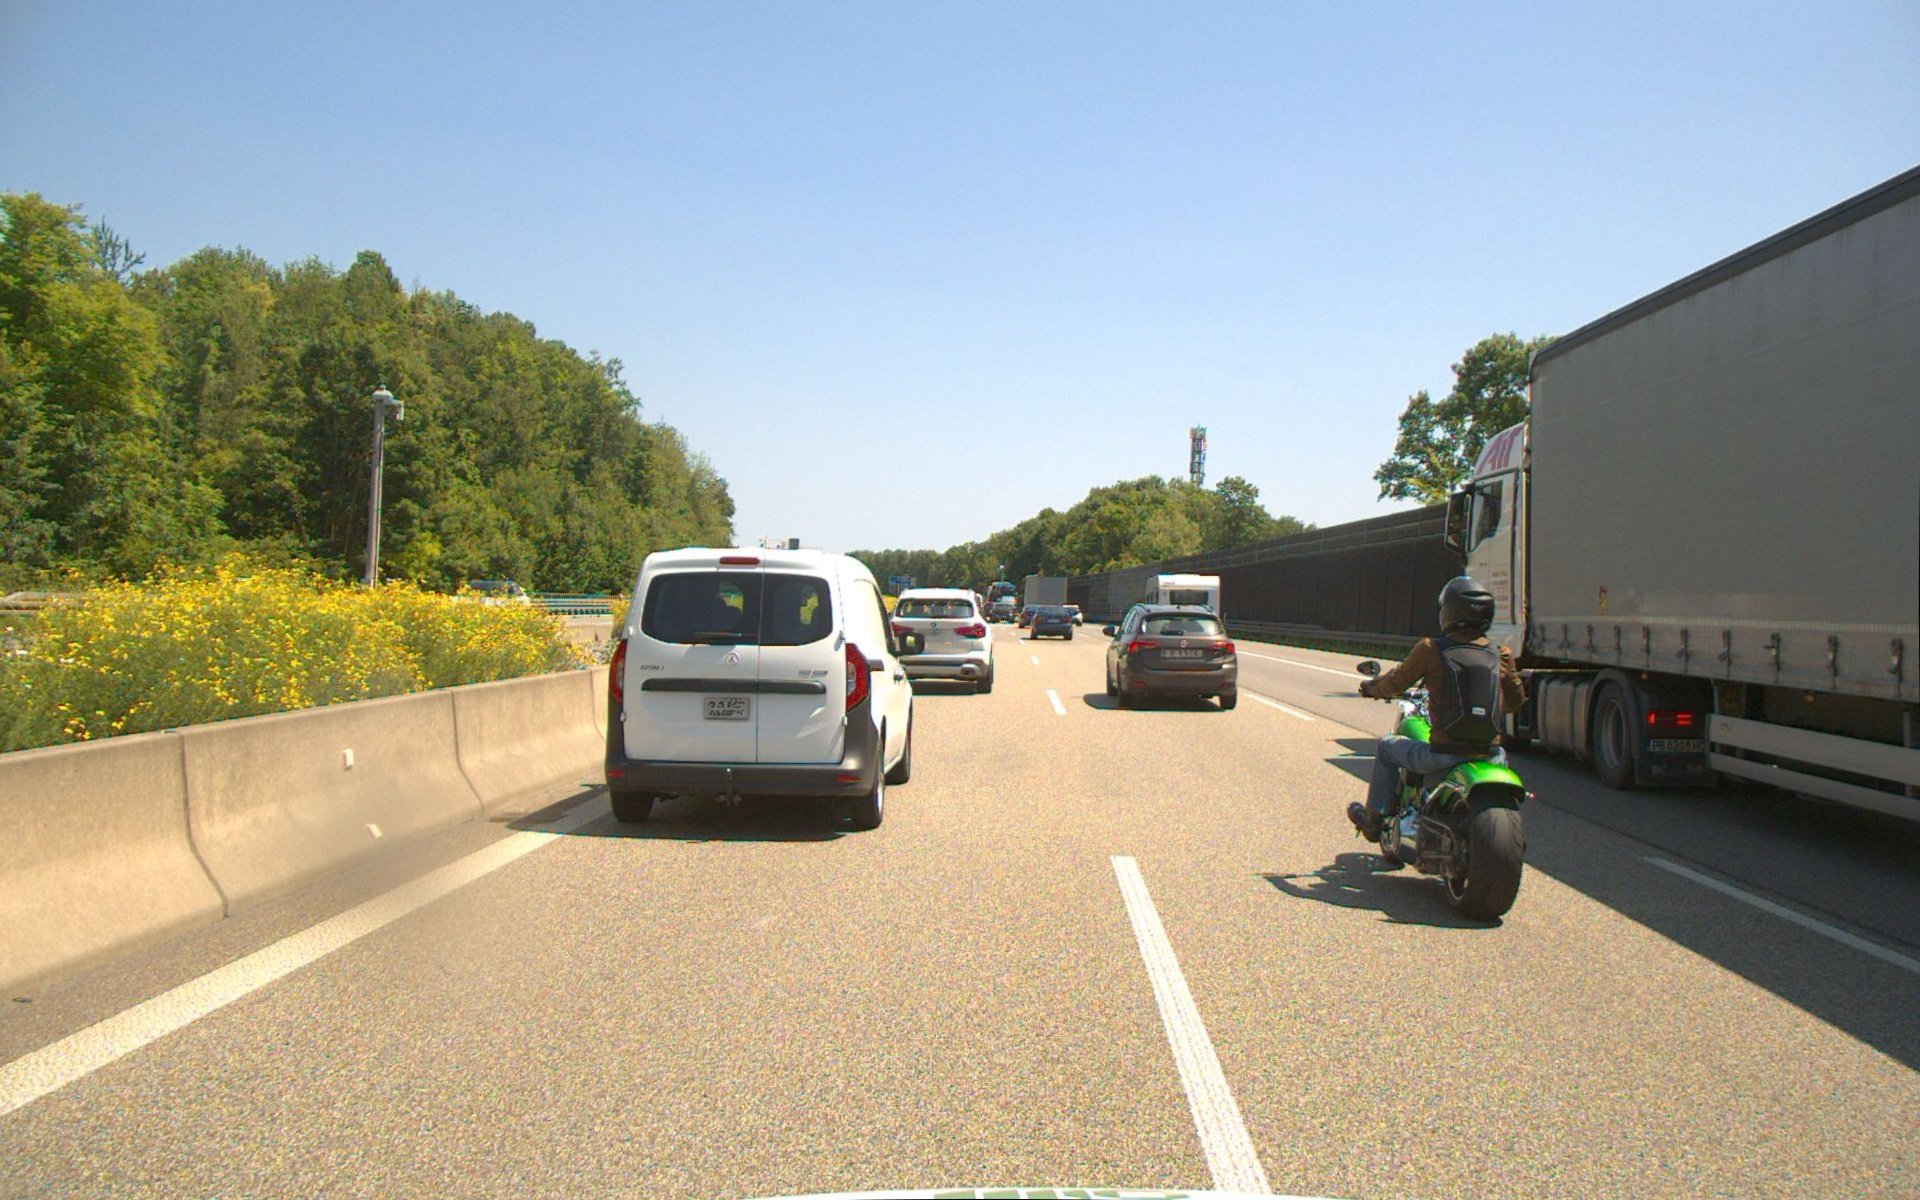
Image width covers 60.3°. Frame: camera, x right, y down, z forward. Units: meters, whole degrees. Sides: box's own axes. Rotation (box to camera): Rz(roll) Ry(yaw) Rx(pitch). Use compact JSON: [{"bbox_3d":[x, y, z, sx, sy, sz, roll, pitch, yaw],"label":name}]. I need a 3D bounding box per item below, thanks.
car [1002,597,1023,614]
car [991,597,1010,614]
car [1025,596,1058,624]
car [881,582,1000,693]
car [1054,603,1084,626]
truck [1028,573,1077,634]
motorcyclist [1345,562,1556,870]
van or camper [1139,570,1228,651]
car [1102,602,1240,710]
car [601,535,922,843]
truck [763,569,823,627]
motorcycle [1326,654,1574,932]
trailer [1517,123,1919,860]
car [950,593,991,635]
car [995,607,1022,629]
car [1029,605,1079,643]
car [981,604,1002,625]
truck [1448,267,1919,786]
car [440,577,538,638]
[{"bbox_3d":[6.073,0.635,190.925,2.065,1.909,3.998,1,-1,-2],"label":"car"},{"bbox_3d":[4.806,0.709,196.294,2.065,1.909,3.999,1,-1,-1],"label":"car"},{"bbox_3d":[4.840,0.578,98.824,1.743,1.579,3.584,2,0,0],"label":"car"},{"bbox_3d":[-0.252,0.600,28.562,1.825,1.724,4.957,1,0,1],"label":"car"},{"bbox_3d":[8.055,1.114,122.192,1.952,1.601,4.000,1,-1,1],"label":"car"},{"bbox_3d":[7.895,0.390,142.470,3.724,5.047,8.950,1,-1,0],"label":"truck"},{"bbox_3d":[2.647,0.590,9.133,0.880,1.501,1.873,1,-1,10],"label":"motorcyclist"},{"bbox_3d":[8.437,0.432,63.145,2.629,2.862,6.804,1,-1,2],"label":"van or camper"},{"bbox_3d":[3.130,0.824,25.149,1.628,1.478,3.869,1,-1,1],"label":"car"},{"bbox_3d":[-1.266,0.549,12.426,1.728,1.844,4.674,1,0,1],"label":"car"},{"bbox_3d":[-6.908,-0.073,68.859,1.799,2.265,6.196,1,0,0],"label":"truck"},{"bbox_3d":[2.588,0.939,9.106,0.944,1.168,2.814,2,0,9],"label":"motorcycle"},{"bbox_3d":[6.776,-0.589,9.781,2.825,4.109,13.799,1,0,3],"label":"trailer"},{"bbox_3d":[0.536,0.673,78.815,1.860,1.906,4.412,1,-1,1],"label":"car"},{"bbox_3d":[3.961,1.484,135.280,1.953,1.669,3.998,1,-1,-2],"label":"car"},{"bbox_3d":[3.796,0.998,67.256,1.952,1.455,3.848,1,-1,3],"label":"car"},{"bbox_3d":[3.107,1.424,163.976,1.873,2.049,3.689,1,-1,-2],"label":"car"},{"bbox_3d":[7.108,-0.602,16.575,2.825,4.218,5.987,1,0,2],"label":"truck"},{"bbox_3d":[-14.319,0.216,50.480,1.758,1.738,4.147,1,0,0],"label":"car"}]
